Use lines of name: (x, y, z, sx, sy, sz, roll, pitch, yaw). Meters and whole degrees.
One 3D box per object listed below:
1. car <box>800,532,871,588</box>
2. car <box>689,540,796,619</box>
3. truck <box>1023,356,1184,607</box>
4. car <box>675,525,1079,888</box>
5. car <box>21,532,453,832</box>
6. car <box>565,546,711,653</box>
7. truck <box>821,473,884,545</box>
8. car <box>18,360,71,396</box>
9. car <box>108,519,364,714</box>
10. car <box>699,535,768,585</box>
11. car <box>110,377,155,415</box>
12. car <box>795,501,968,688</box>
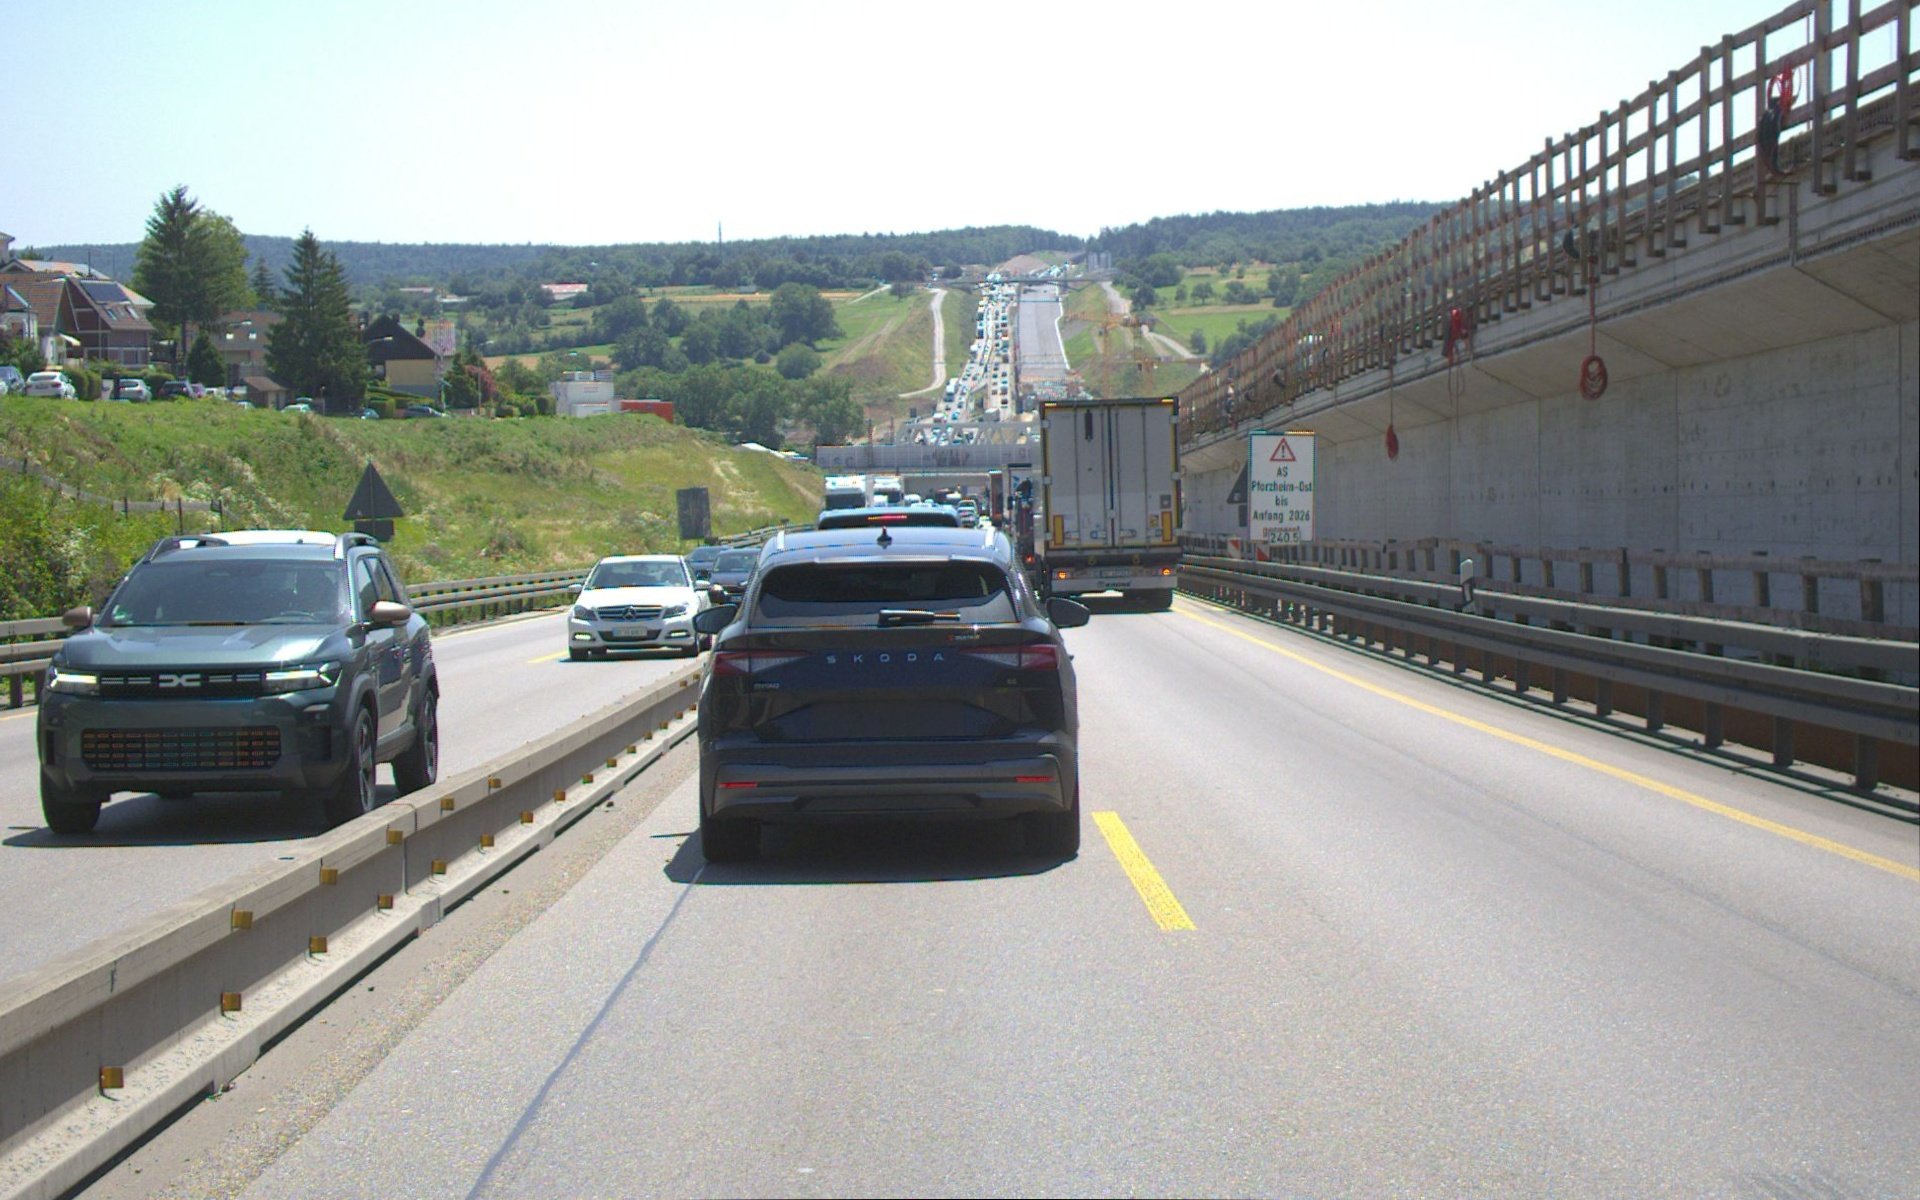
car: (-3.525, -1.124, 97.734, 1.842, 1.525, 4.294, -1, 0, 0)
car: (-4.393, -0.408, 70.111, 1.606, 1.441, 4.669, -4, 0, 2)
truck: (2.758, -2.234, 69.343, 2.846, 4.599, 11.811, -1, 0, 1)
car: (-0.400, 0.449, 17.401, 1.782, 1.592, 3.755, -2, 1, -1)
car: (-4.234, 0.410, 20.746, 1.774, 1.628, 4.100, 0, 1, -1)
car: (-4.481, -0.020, 48.322, 1.732, 1.433, 4.259, 0, 0, -1)
truck: (-6.606, -5.543, 210.238, 3.179, 4.223, 6.486, -1, 0, -7)
car: (-41.366, -10.017, 155.419, 1.993, 1.315, 4.001, 2, 0, -11)
car: (-7.351, 0.139, 35.334, 1.596, 1.827, 4.753, -1, 0, 0)
car: (-6.742, -1.186, 102.867, 1.813, 1.443, 5.007, 0, 0, -1)
car: (-42.134, -10.400, 175.054, 1.924, 1.722, 4.001, -2, 1, -10)
car: (-0.867, -0.090, 37.014, 1.749, 1.889, 3.755, 1, 1, -2)
